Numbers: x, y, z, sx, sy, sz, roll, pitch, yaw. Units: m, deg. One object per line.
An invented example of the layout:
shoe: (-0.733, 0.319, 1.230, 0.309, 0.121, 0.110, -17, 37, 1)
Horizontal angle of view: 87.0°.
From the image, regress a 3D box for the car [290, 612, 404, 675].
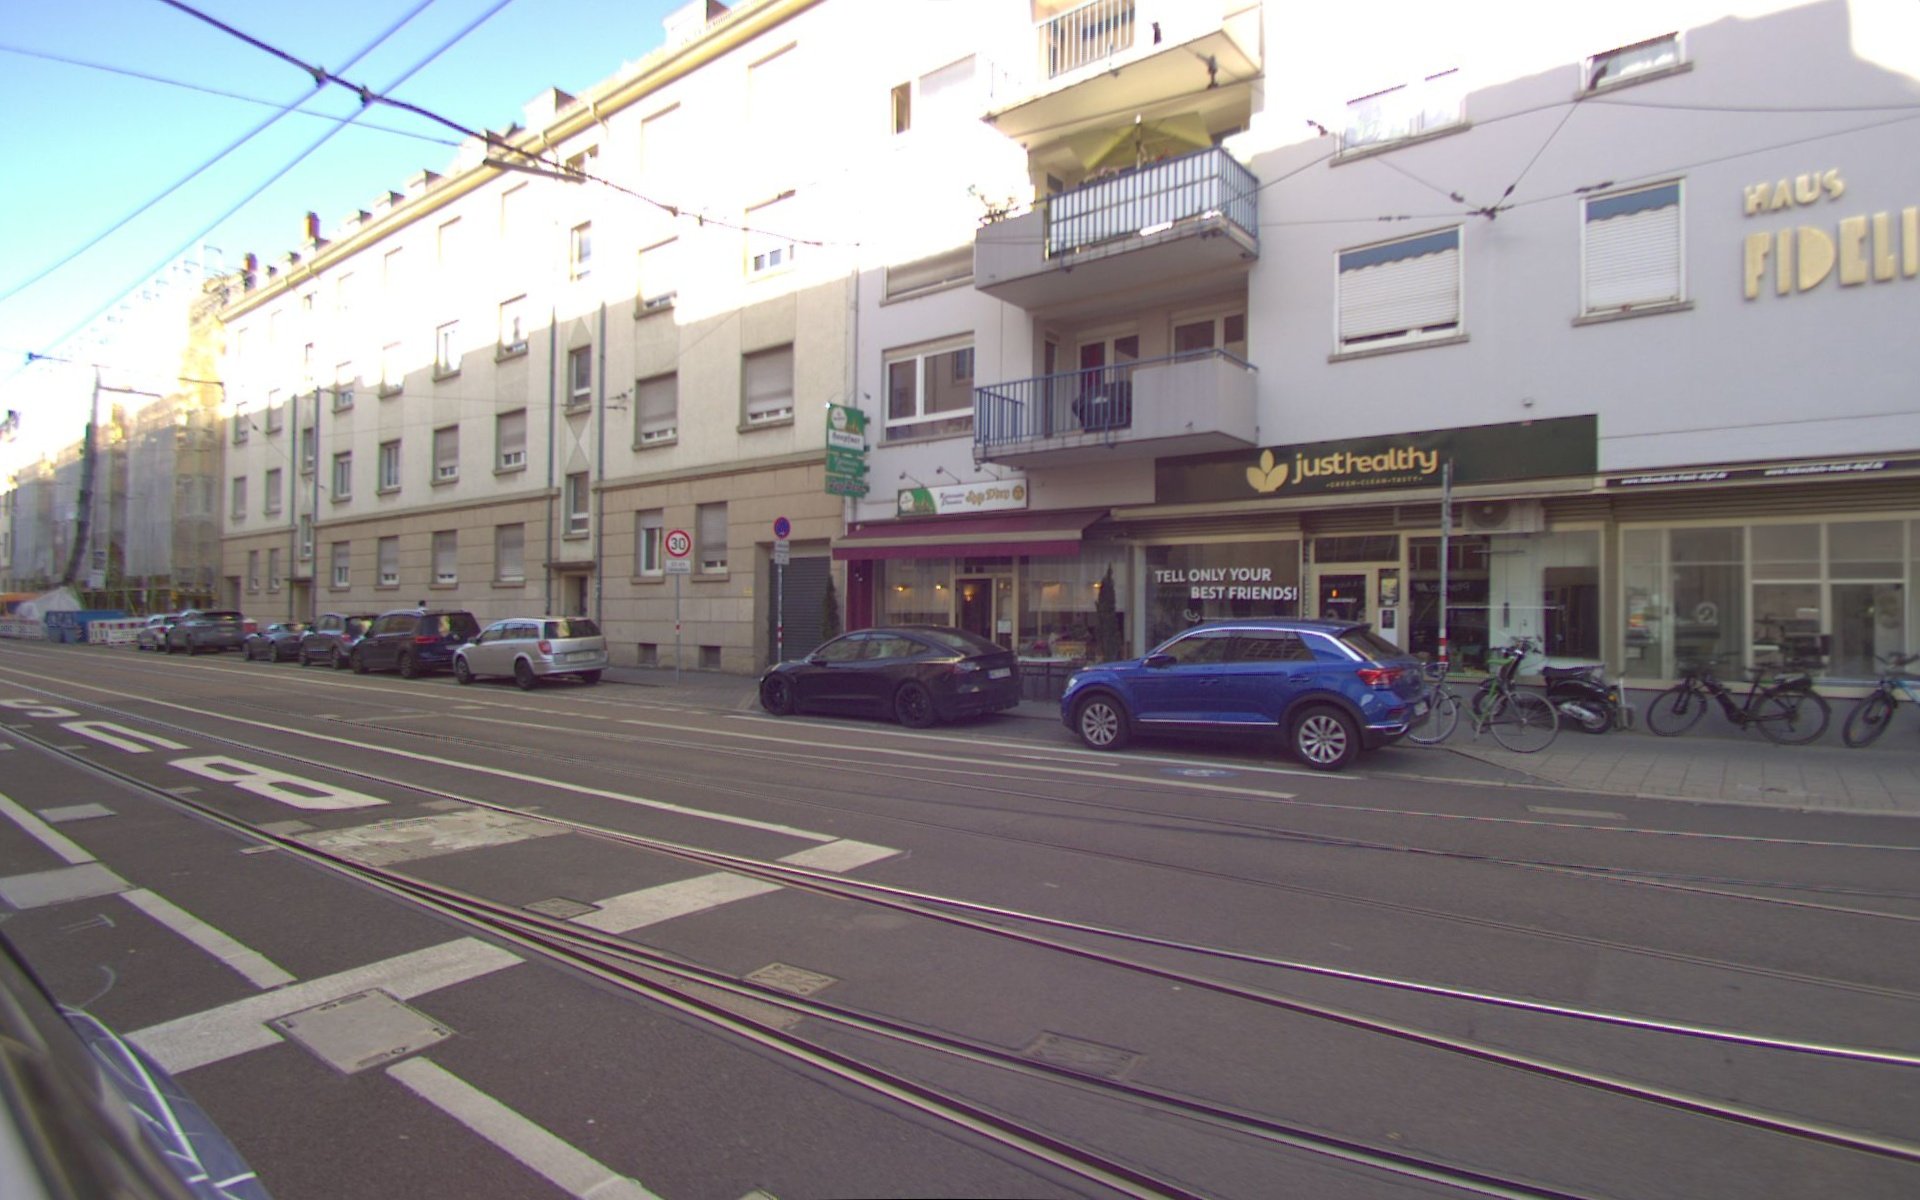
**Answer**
car: (-17.358, 1.178, 28.595, 3.592, 1.570, 1.623, 0, 1, 39)

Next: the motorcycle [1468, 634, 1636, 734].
motorcycle: (7.564, 1.037, 12.979, 1.795, 1.143, 0.601, 0, 1, 39)

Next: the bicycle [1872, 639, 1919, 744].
bicycle: (10.953, 1.014, 10.987, 1.538, 1.114, 0.545, 0, 1, 41)

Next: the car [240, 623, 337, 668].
car: (-20.939, 1.379, 31.505, 3.519, 1.228, 1.458, 0, 1, 38)

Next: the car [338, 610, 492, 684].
car: (-13.759, 1.113, 25.481, 4.319, 1.645, 1.797, 0, 1, 38)

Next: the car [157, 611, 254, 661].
car: (-27.418, 1.259, 36.740, 4.153, 1.621, 1.731, 0, 1, 38)

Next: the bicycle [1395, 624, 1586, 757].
bicycle: (5.829, 0.947, 11.175, 1.795, 1.324, 0.601, 0, 1, 39)

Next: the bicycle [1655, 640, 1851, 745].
bicycle: (9.348, 1.058, 11.998, 1.795, 1.096, 0.601, 0, 1, 39)

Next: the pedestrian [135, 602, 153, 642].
pedestrian: (-39.776, 1.065, 49.312, 0.762, 1.886, 0.512, 0, 0, 39)

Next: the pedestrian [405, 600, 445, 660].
pedestrian: (-16.377, 0.910, 30.978, 1.002, 1.781, 0.657, 0, 0, 32)

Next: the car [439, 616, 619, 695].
car: (-9.472, 1.131, 22.116, 4.365, 1.465, 1.709, 0, 1, 38)

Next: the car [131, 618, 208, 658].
car: (-30.881, 1.442, 39.522, 3.503, 1.390, 1.546, 0, 1, 38)

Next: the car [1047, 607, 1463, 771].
car: (3.272, 0.896, 11.617, 4.230, 1.515, 1.753, -2, 0, 37)

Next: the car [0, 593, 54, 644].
car: (-52.685, 0.996, 56.546, 5.868, 2.717, 2.187, 0, 1, 40)

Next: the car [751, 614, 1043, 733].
car: (-1.066, 0.998, 15.398, 4.441, 1.486, 1.751, 0, 1, 40)
